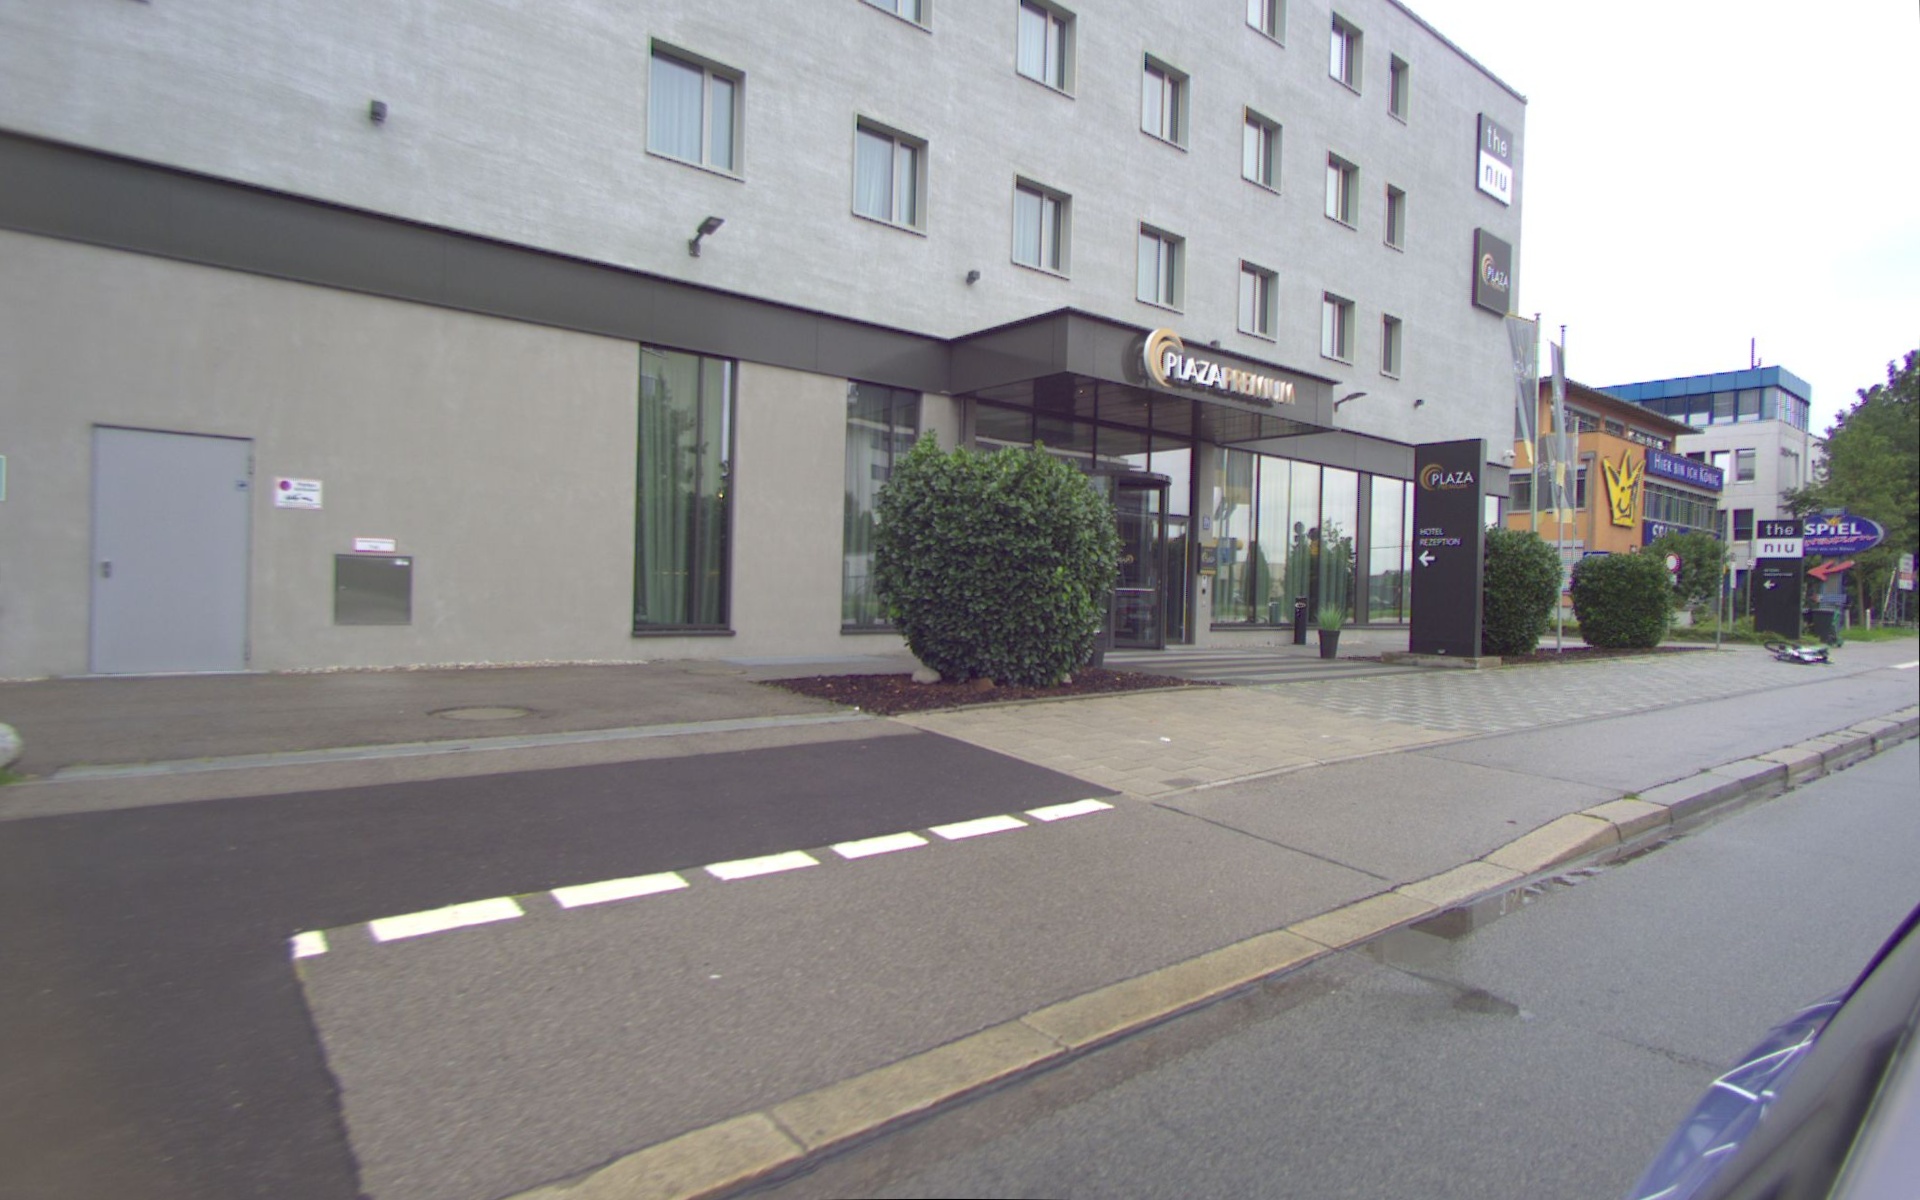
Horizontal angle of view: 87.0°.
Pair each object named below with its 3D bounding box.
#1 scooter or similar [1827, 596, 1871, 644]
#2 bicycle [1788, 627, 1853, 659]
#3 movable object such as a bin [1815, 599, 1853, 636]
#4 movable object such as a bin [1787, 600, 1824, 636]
[{"bbox_3d":[25.506,0.556,29.029,1.378,1.292,0.588,1,6,-38],"label":"scooter or similar"},{"bbox_3d":[18.399,0.902,21.626,1.701,0.555,0.722,1,5,-39],"label":"bicycle"},{"bbox_3d":[26.646,0.528,30.858,0.643,1.091,0.739,1,2,-38],"label":"movable object such as a bin"},{"bbox_3d":[26.441,0.560,31.657,0.643,1.091,0.739,1,2,-38],"label":"movable object such as a bin"}]
